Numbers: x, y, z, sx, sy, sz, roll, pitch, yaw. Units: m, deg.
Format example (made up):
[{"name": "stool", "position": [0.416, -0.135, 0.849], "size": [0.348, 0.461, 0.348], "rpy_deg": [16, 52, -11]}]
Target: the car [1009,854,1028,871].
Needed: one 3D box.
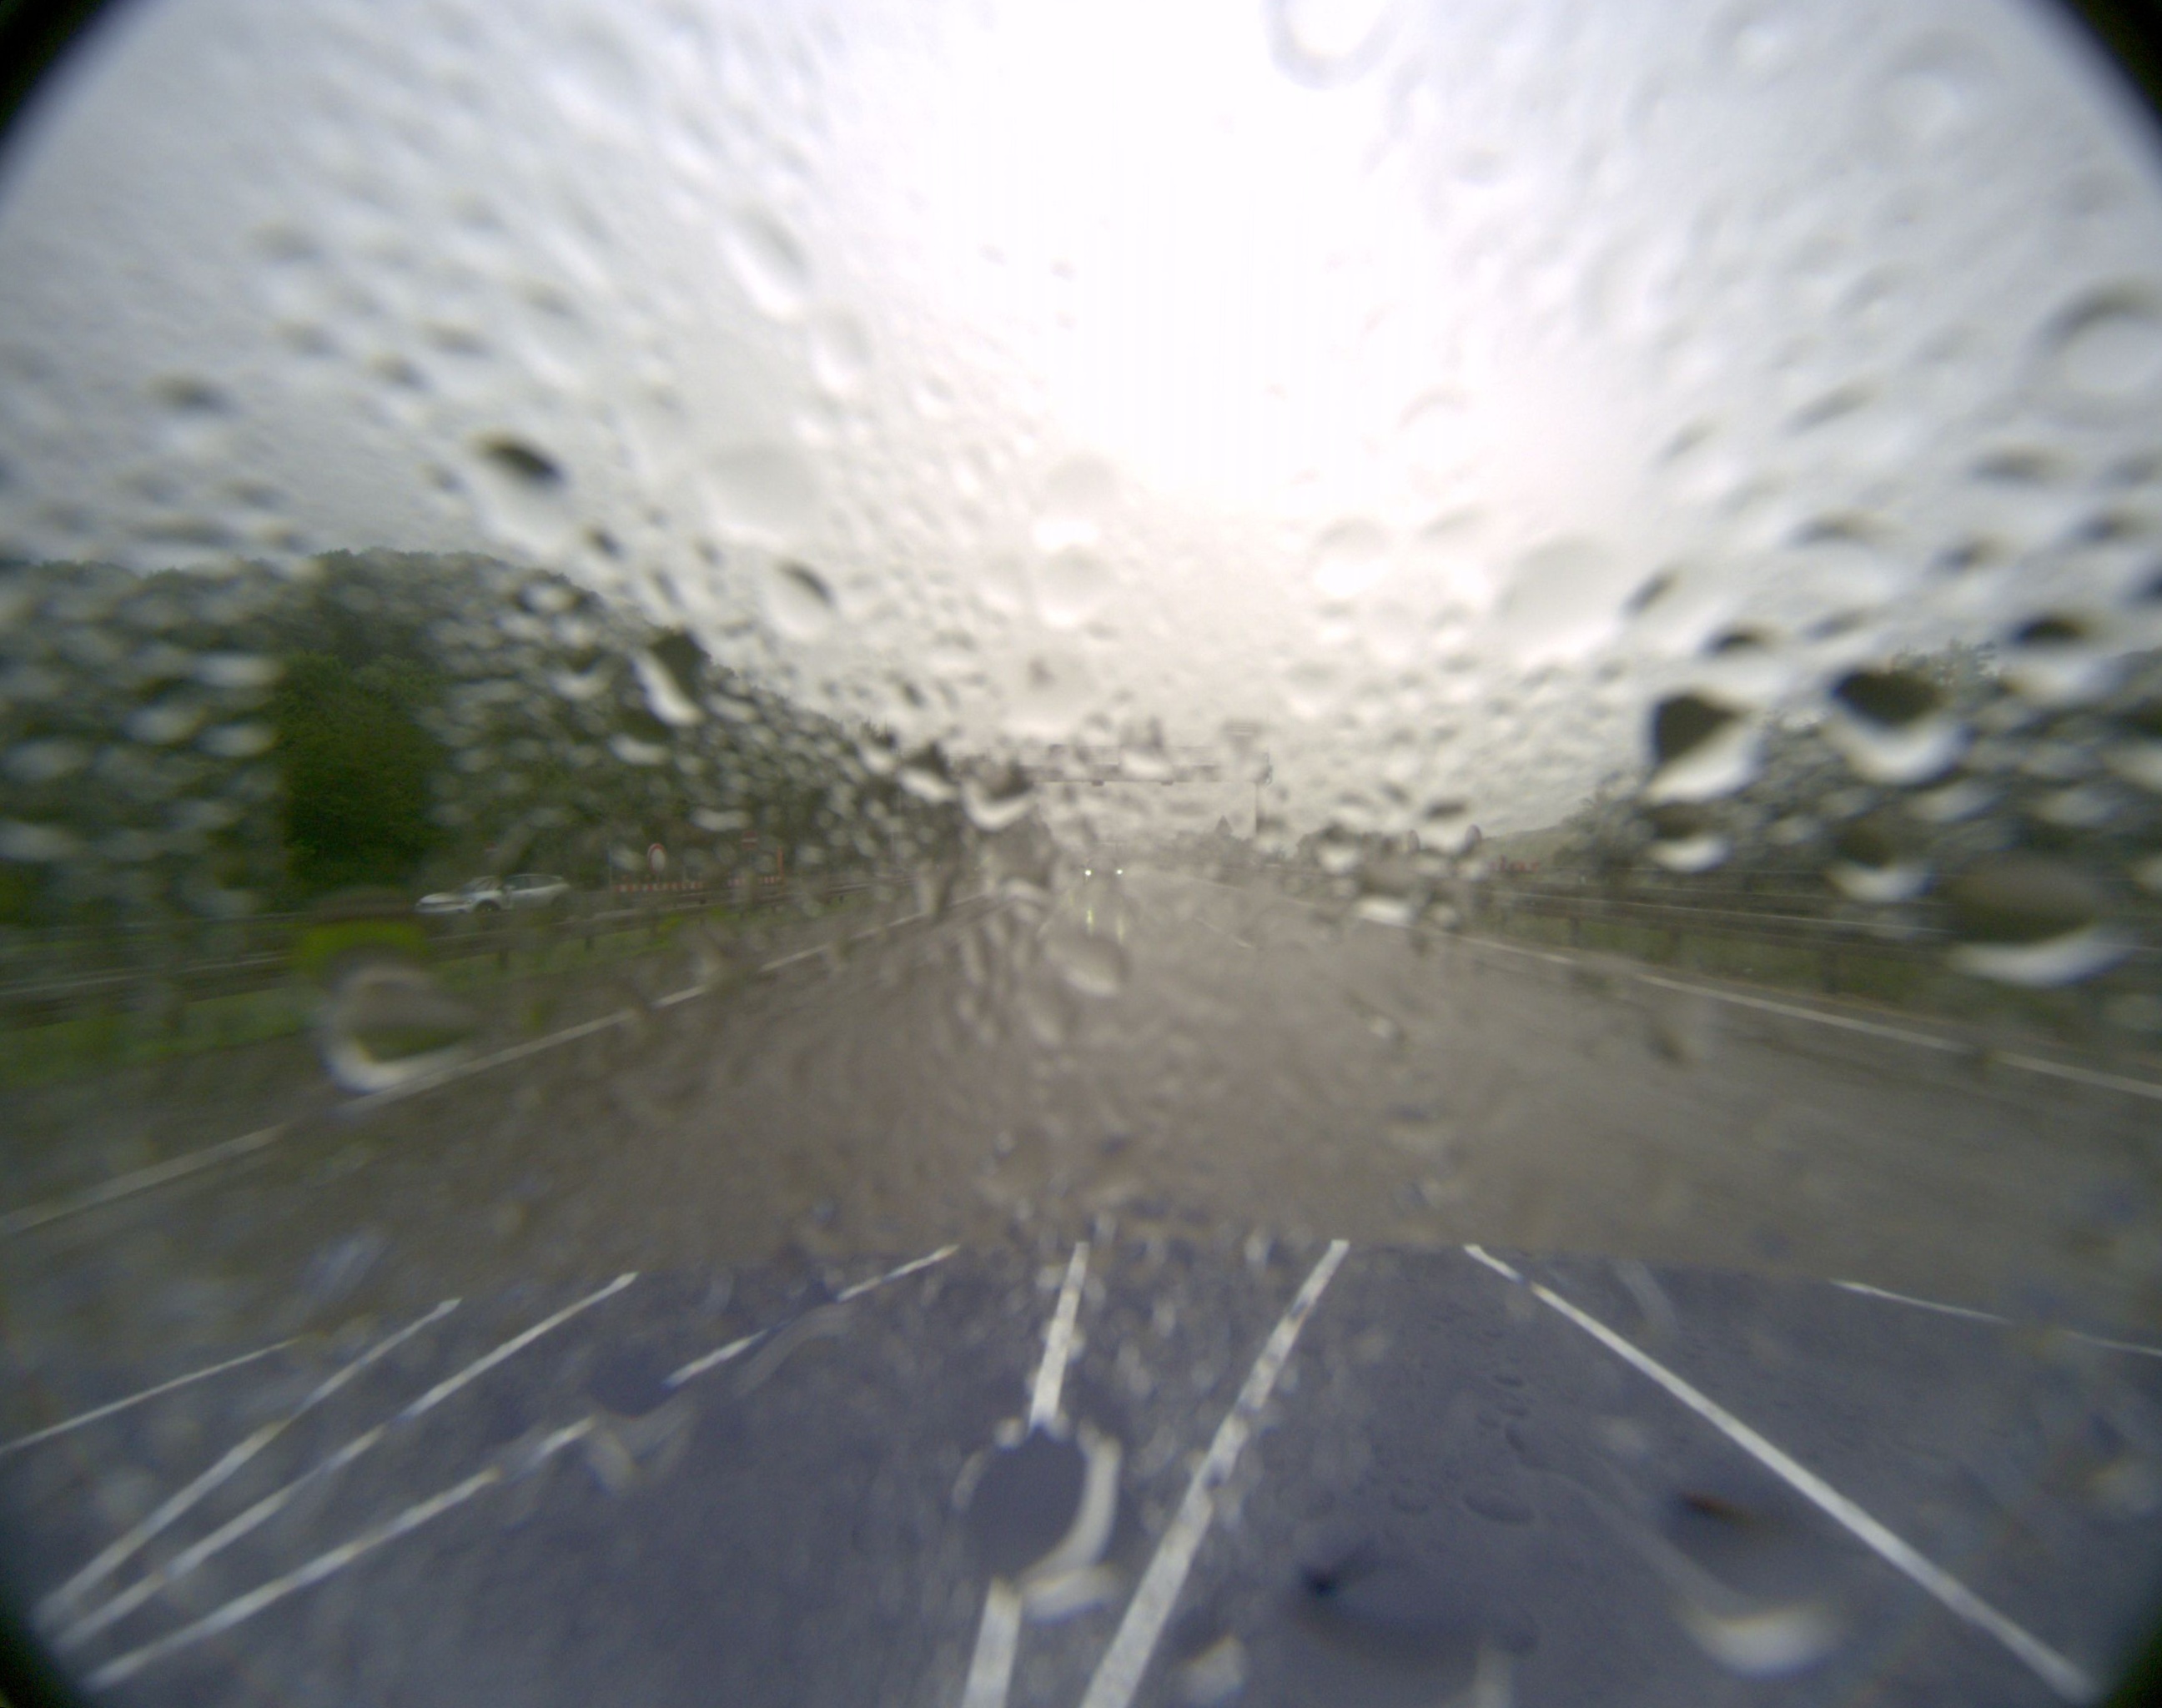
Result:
[{"name": "car", "position": [-8.059, 1.092, 98.481], "size": [1.858, 2.002, 4.001], "rpy_deg": [-2, 0, 4]}]

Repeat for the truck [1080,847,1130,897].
[{"name": "truck", "position": [1.054, 0.711, 34.721], "size": [1.998, 2.002, 7.575], "rpy_deg": [-1, 0, 1]}]

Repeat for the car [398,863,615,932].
[{"name": "car", "position": [-18.123, 1.280, 24.483], "size": [1.997, 1.740, 5.666], "rpy_deg": [-2, 1, 10]}]
